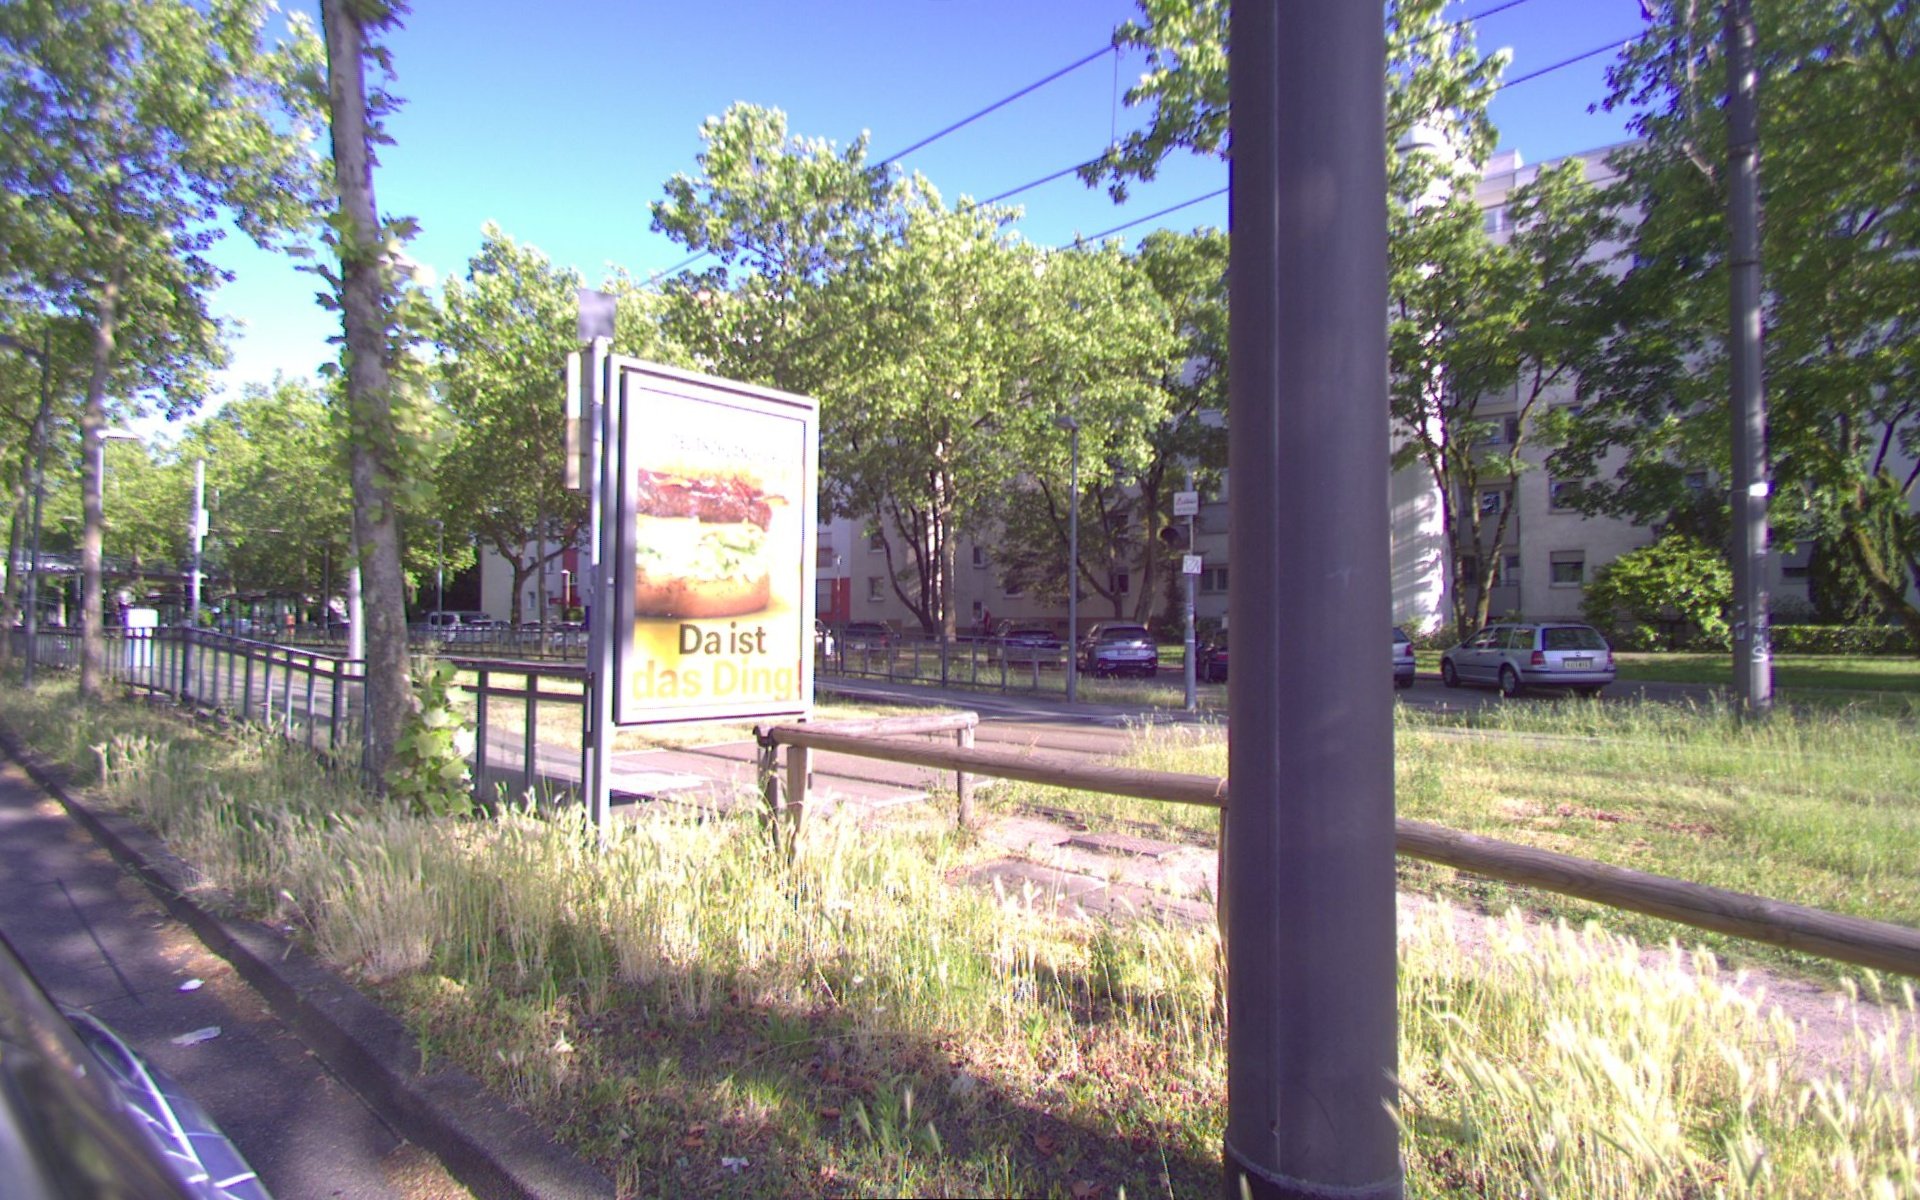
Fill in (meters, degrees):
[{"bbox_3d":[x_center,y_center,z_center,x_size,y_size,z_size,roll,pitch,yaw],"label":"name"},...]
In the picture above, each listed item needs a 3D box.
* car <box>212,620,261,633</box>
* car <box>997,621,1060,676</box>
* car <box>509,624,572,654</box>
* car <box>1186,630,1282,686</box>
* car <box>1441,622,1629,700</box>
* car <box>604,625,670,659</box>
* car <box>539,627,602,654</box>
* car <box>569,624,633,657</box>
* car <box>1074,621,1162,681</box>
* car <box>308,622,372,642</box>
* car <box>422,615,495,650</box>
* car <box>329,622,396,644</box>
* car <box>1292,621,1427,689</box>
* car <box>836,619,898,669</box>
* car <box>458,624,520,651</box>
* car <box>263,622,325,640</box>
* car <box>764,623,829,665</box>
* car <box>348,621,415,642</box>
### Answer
[{"bbox_3d":[-74.279,2.711,103.952,1.609,1.353,4.003,-1,-1,17],"label":"car"},{"bbox_3d":[1.934,1.365,29.444,1.664,1.482,3.680,0,-1,1],"label":"car"},{"bbox_3d":[-21.123,1.955,51.132,1.627,1.460,3.680,0,-1,1],"label":"car"},{"bbox_3d":[6.730,1.398,25.205,1.602,1.256,3.677,0,-1,4],"label":"car"},{"bbox_3d":[11.549,1.174,20.627,1.707,1.444,3.681,0,-1,1],"label":"car"},{"bbox_3d":[-14.082,1.816,44.279,1.627,1.403,3.679,0,-1,2],"label":"car"},{"bbox_3d":[-19.045,1.977,49.664,1.627,1.251,3.680,0,-1,1],"label":"car"},{"bbox_3d":[-16.681,1.839,47.134,1.627,1.460,3.680,0,-1,1],"label":"car"},{"bbox_3d":[4.207,1.343,27.491,1.894,1.507,3.680,0,-1,2],"label":"car"},{"bbox_3d":[-44.644,2.276,72.982,1.898,1.386,4.365,0,-1,1],"label":"car"},{"bbox_3d":[-28.326,1.822,57.326,1.898,1.898,4.365,0,-1,1],"label":"car"},{"bbox_3d":[-40.282,2.199,68.390,1.898,1.386,4.365,0,-1,1],"label":"car"},{"bbox_3d":[9.154,1.217,23.526,1.679,1.444,3.681,0,-1,1],"label":"car"},{"bbox_3d":[-3.107,1.455,34.466,1.664,1.579,3.679,0,-1,2],"label":"car"},{"bbox_3d":[-25.798,2.031,55.517,1.627,1.407,3.680,0,-1,1],"label":"car"},{"bbox_3d":[-52.145,2.399,79.362,1.898,1.386,4.365,0,-1,1],"label":"car"},{"bbox_3d":[-5.908,1.568,36.916,1.664,1.444,3.679,0,-1,2],"label":"car"},{"bbox_3d":[-37.923,2.045,66.472,1.898,1.386,4.365,0,-1,1],"label":"car"}]
